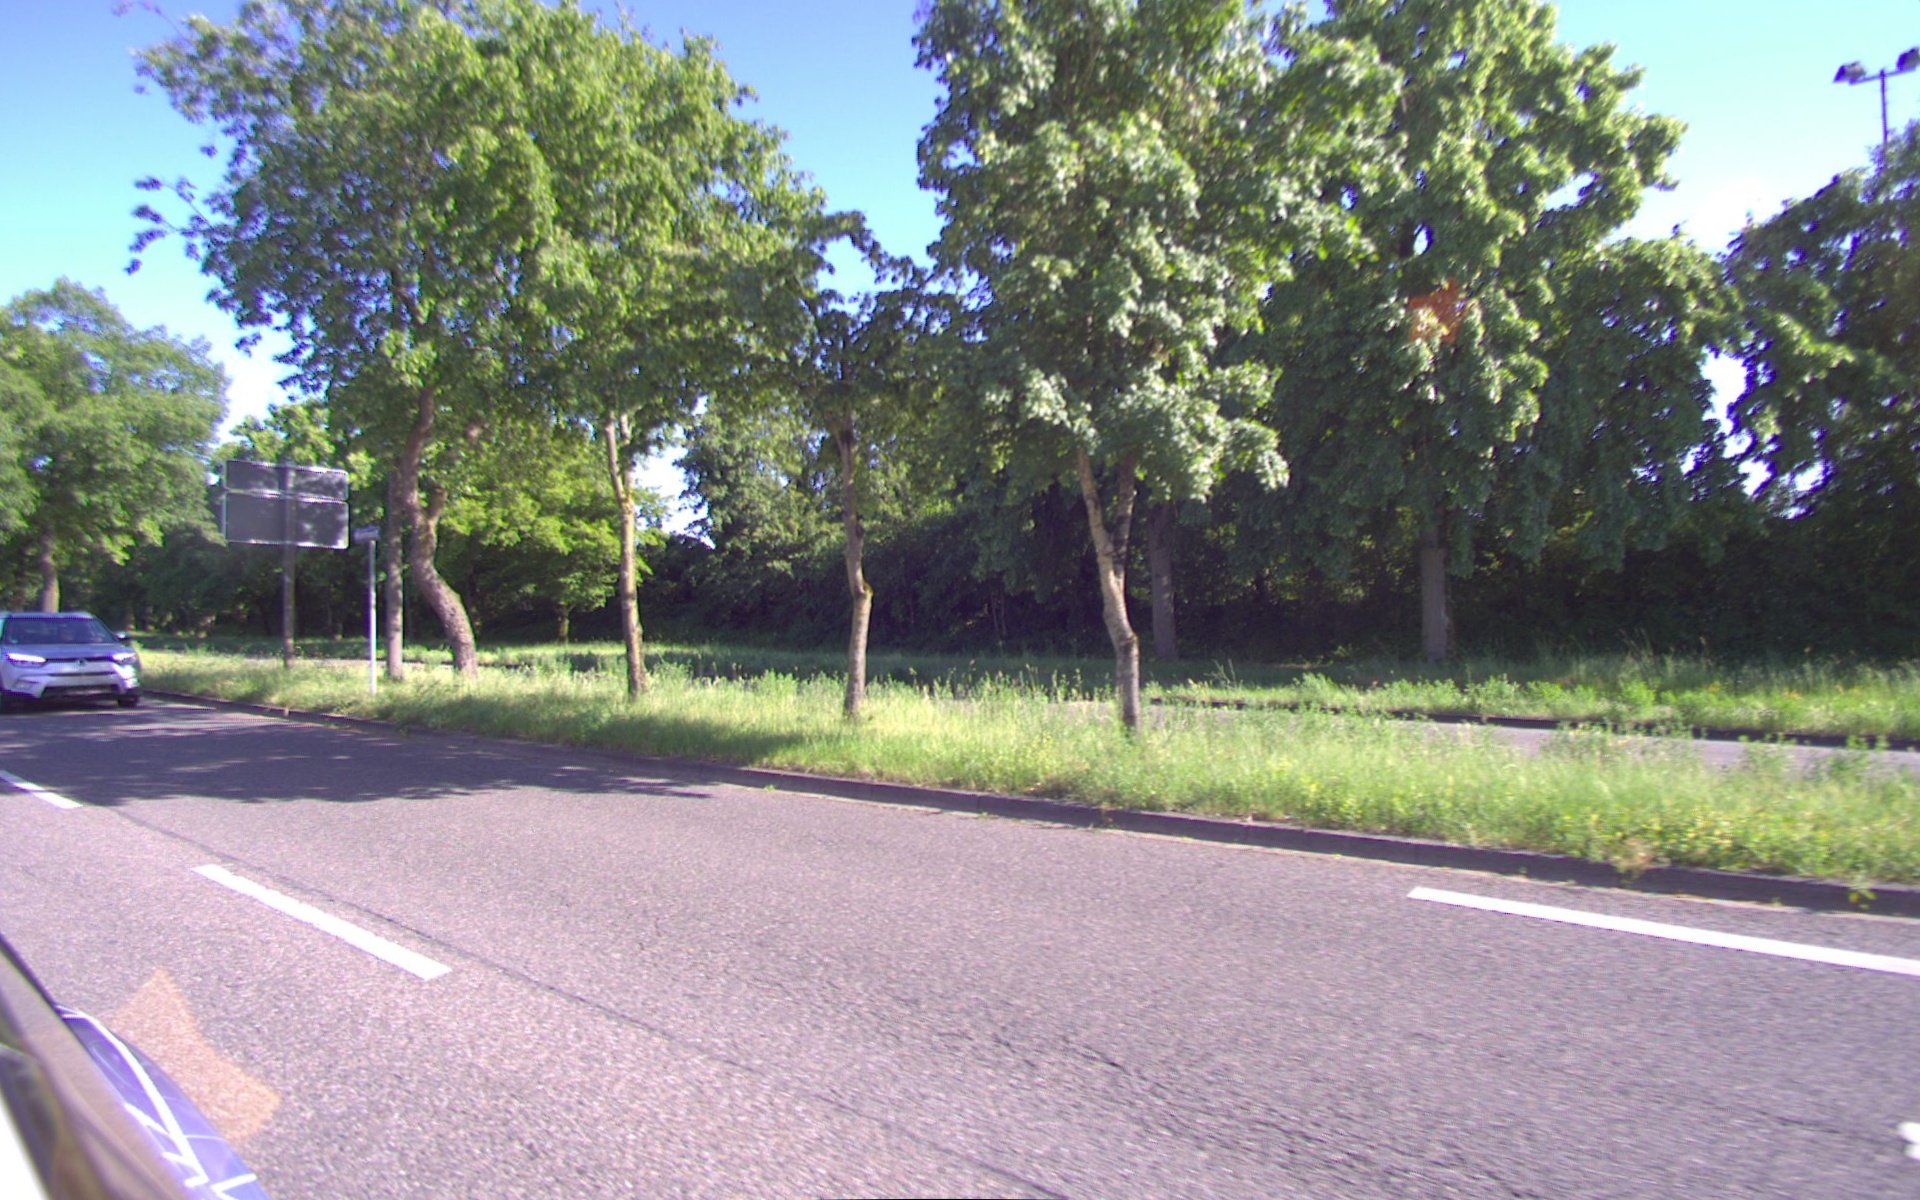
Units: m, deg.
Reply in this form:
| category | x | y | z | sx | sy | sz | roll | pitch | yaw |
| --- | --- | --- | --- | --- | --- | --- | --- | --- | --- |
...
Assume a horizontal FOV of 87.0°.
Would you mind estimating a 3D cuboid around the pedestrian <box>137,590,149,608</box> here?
| category | x | y | z | sx | sy | sz | roll | pitch | yaw |
| --- | --- | --- | --- | --- | --- | --- | --- | --- | --- |
| pedestrian | -77.547 | -0.099 | 96.056 | 0.678 | 1.671 | 0.675 | 1 | 4 | 36 |

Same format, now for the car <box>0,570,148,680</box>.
| category | x | y | z | sx | sy | sz | roll | pitch | yaw |
| --- | --- | --- | --- | --- | --- | --- | --- | --- | --- |
| car | -15.225 | 0.382 | 16.855 | 4.100 | 1.622 | 1.767 | 0 | -1 | 38 |
